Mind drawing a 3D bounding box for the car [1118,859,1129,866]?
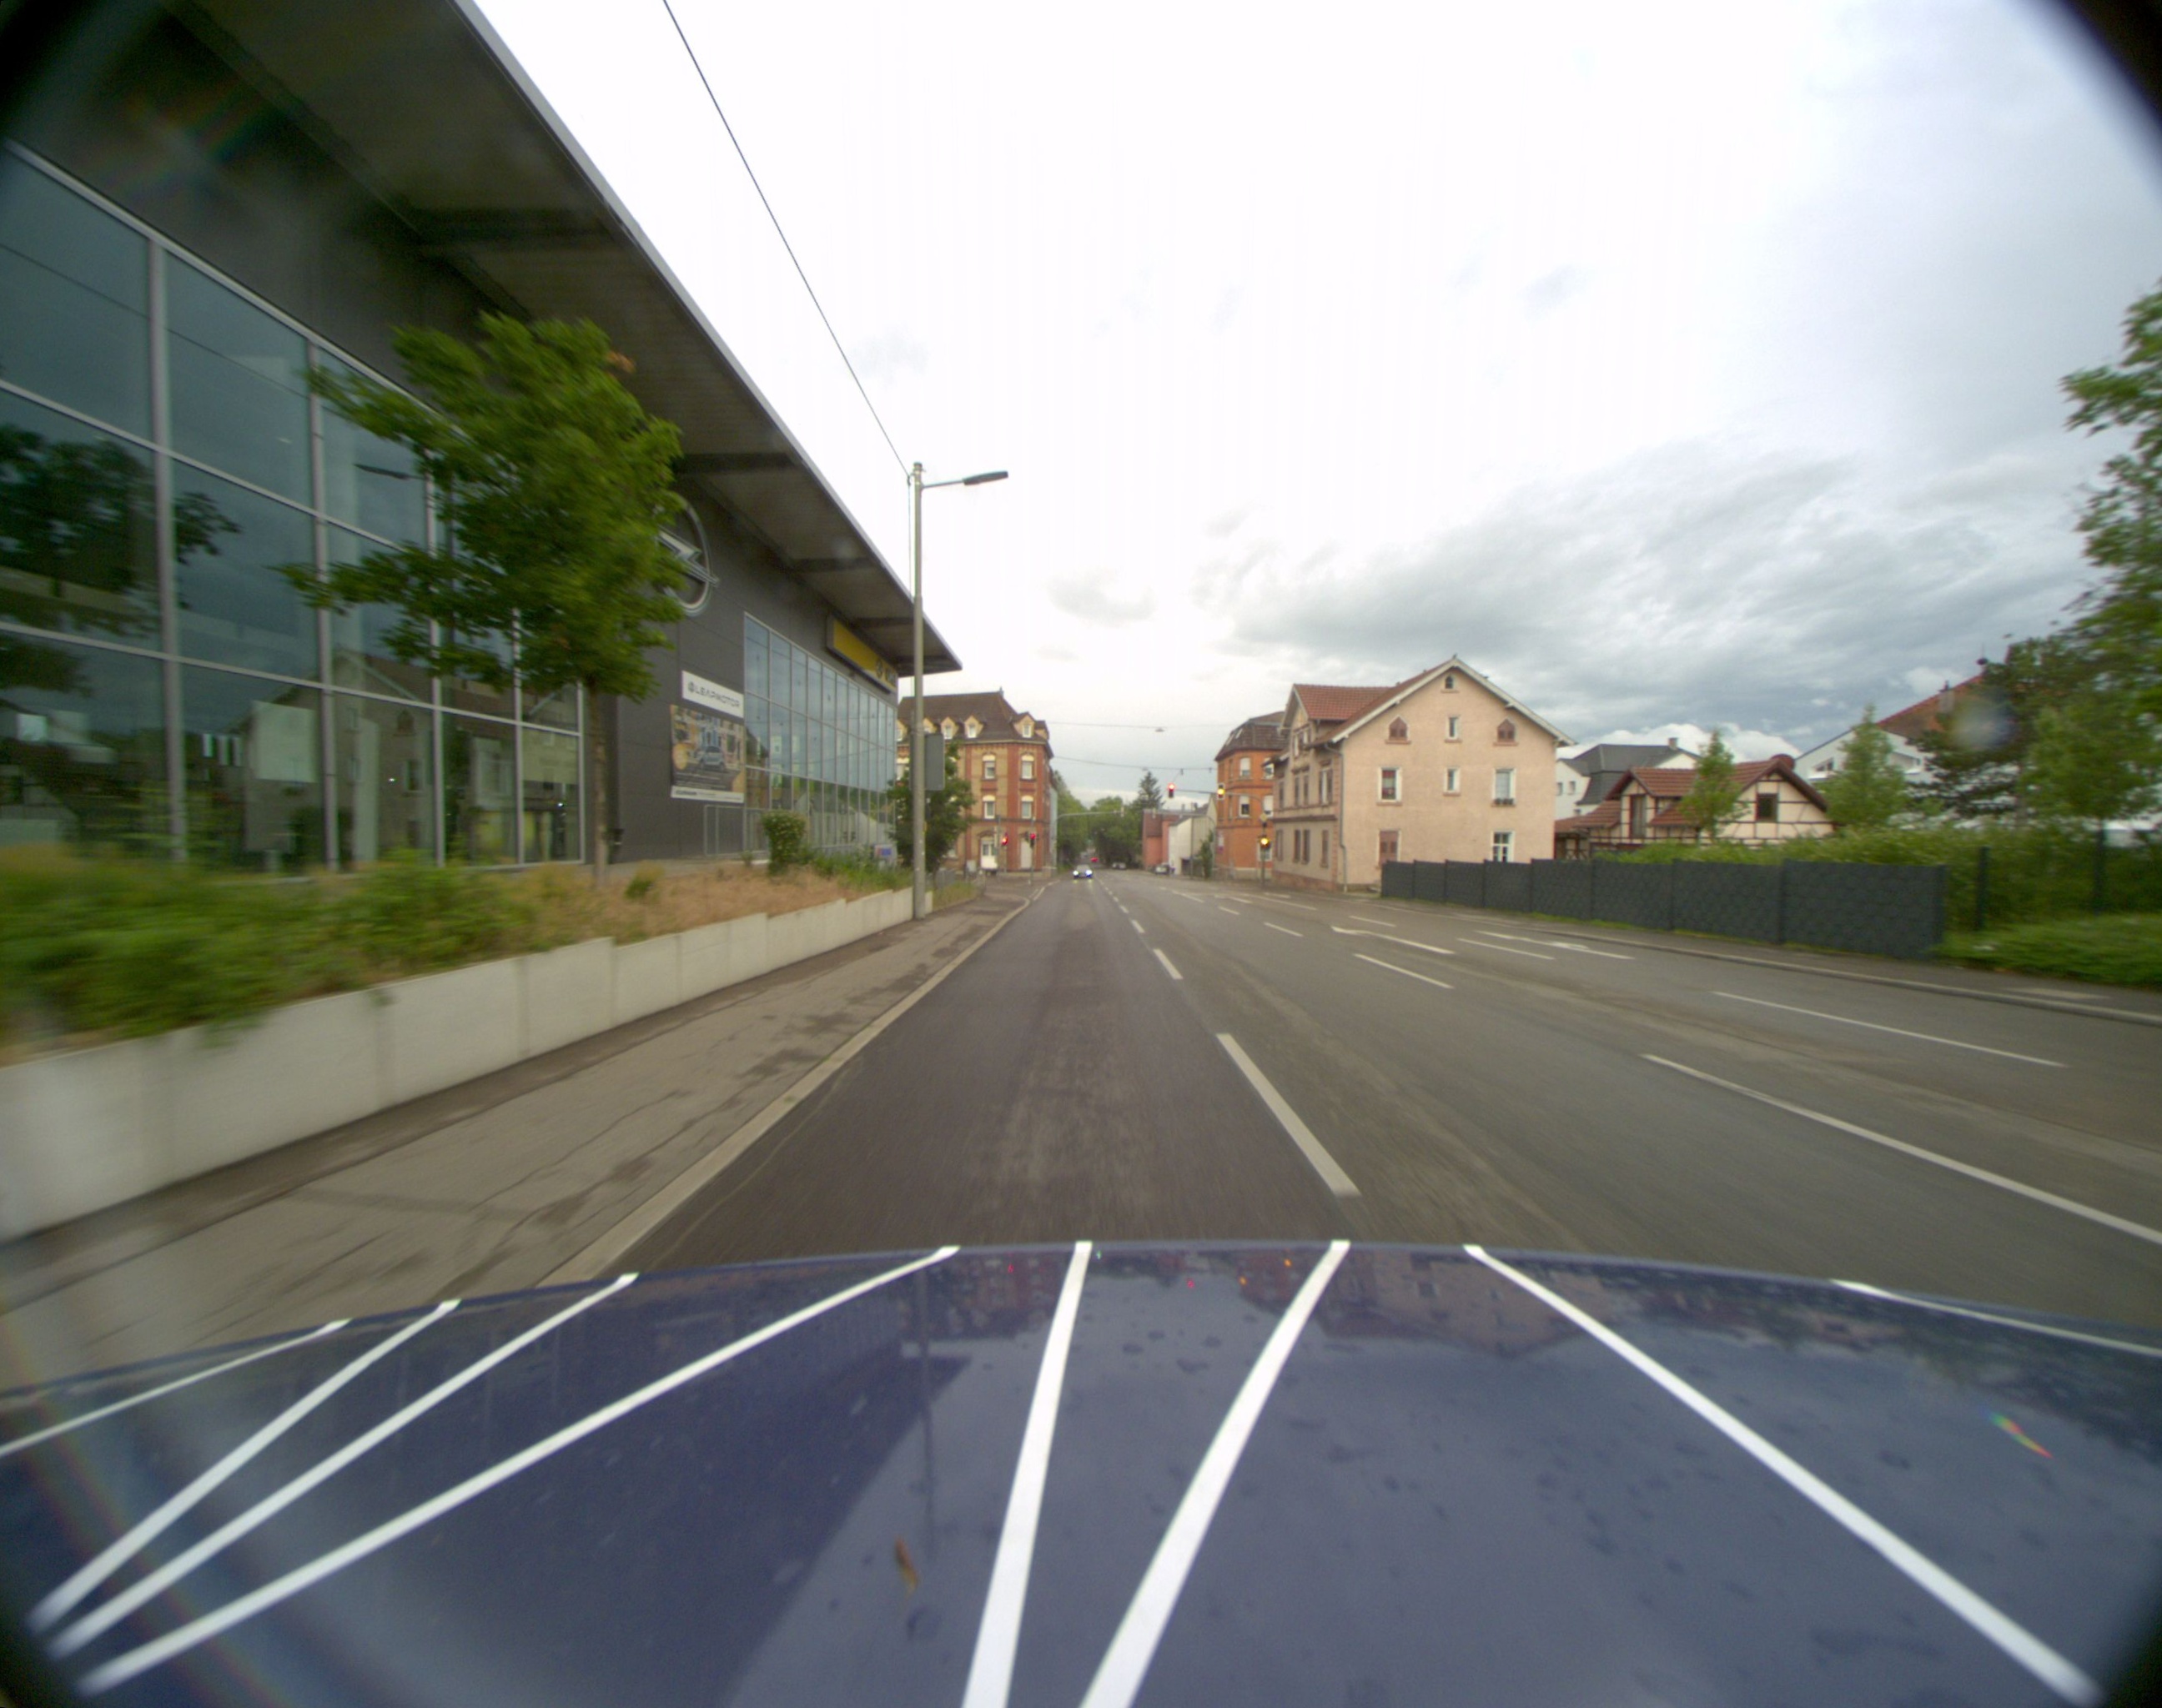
[{"bbox_3d":[8.572,1.649,153.295,1.789,1.402,4.197,2,0,-2],"label":"car"}]

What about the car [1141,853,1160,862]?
[{"bbox_3d":[15.586,0.832,170.736,3.994,2.002,2.001,-1,1,8],"label":"car"}]

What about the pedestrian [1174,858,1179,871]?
[{"bbox_3d":[12.598,1.379,100.179,0.642,1.696,0.911,-1,0,1],"label":"pedestrian"}]

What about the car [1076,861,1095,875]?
[{"bbox_3d":[0.436,1.382,76.022,1.842,1.403,4.000,0,0,1],"label":"car"}]

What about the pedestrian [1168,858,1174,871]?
[{"bbox_3d":[11.890,1.375,100.160,0.642,1.696,0.911,-1,0,1],"label":"pedestrian"}]

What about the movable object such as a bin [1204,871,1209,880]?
[{"bbox_3d":[13.207,2.230,79.952,0.410,0.919,0.525,-1,1,-6],"label":"movable object such as a bin"}]

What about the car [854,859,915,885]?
[{"bbox_3d":[-13.627,1.215,52.616,4.242,1.653,1.808,1,1,35],"label":"car"}]

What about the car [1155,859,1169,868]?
[{"bbox_3d":[12.944,1.481,121.388,1.749,1.499,4.178,0,0,1],"label":"car"}]

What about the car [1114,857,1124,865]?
[{"bbox_3d":[8.168,1.573,164.535,1.816,1.537,4.198,3,0,0],"label":"car"}]
